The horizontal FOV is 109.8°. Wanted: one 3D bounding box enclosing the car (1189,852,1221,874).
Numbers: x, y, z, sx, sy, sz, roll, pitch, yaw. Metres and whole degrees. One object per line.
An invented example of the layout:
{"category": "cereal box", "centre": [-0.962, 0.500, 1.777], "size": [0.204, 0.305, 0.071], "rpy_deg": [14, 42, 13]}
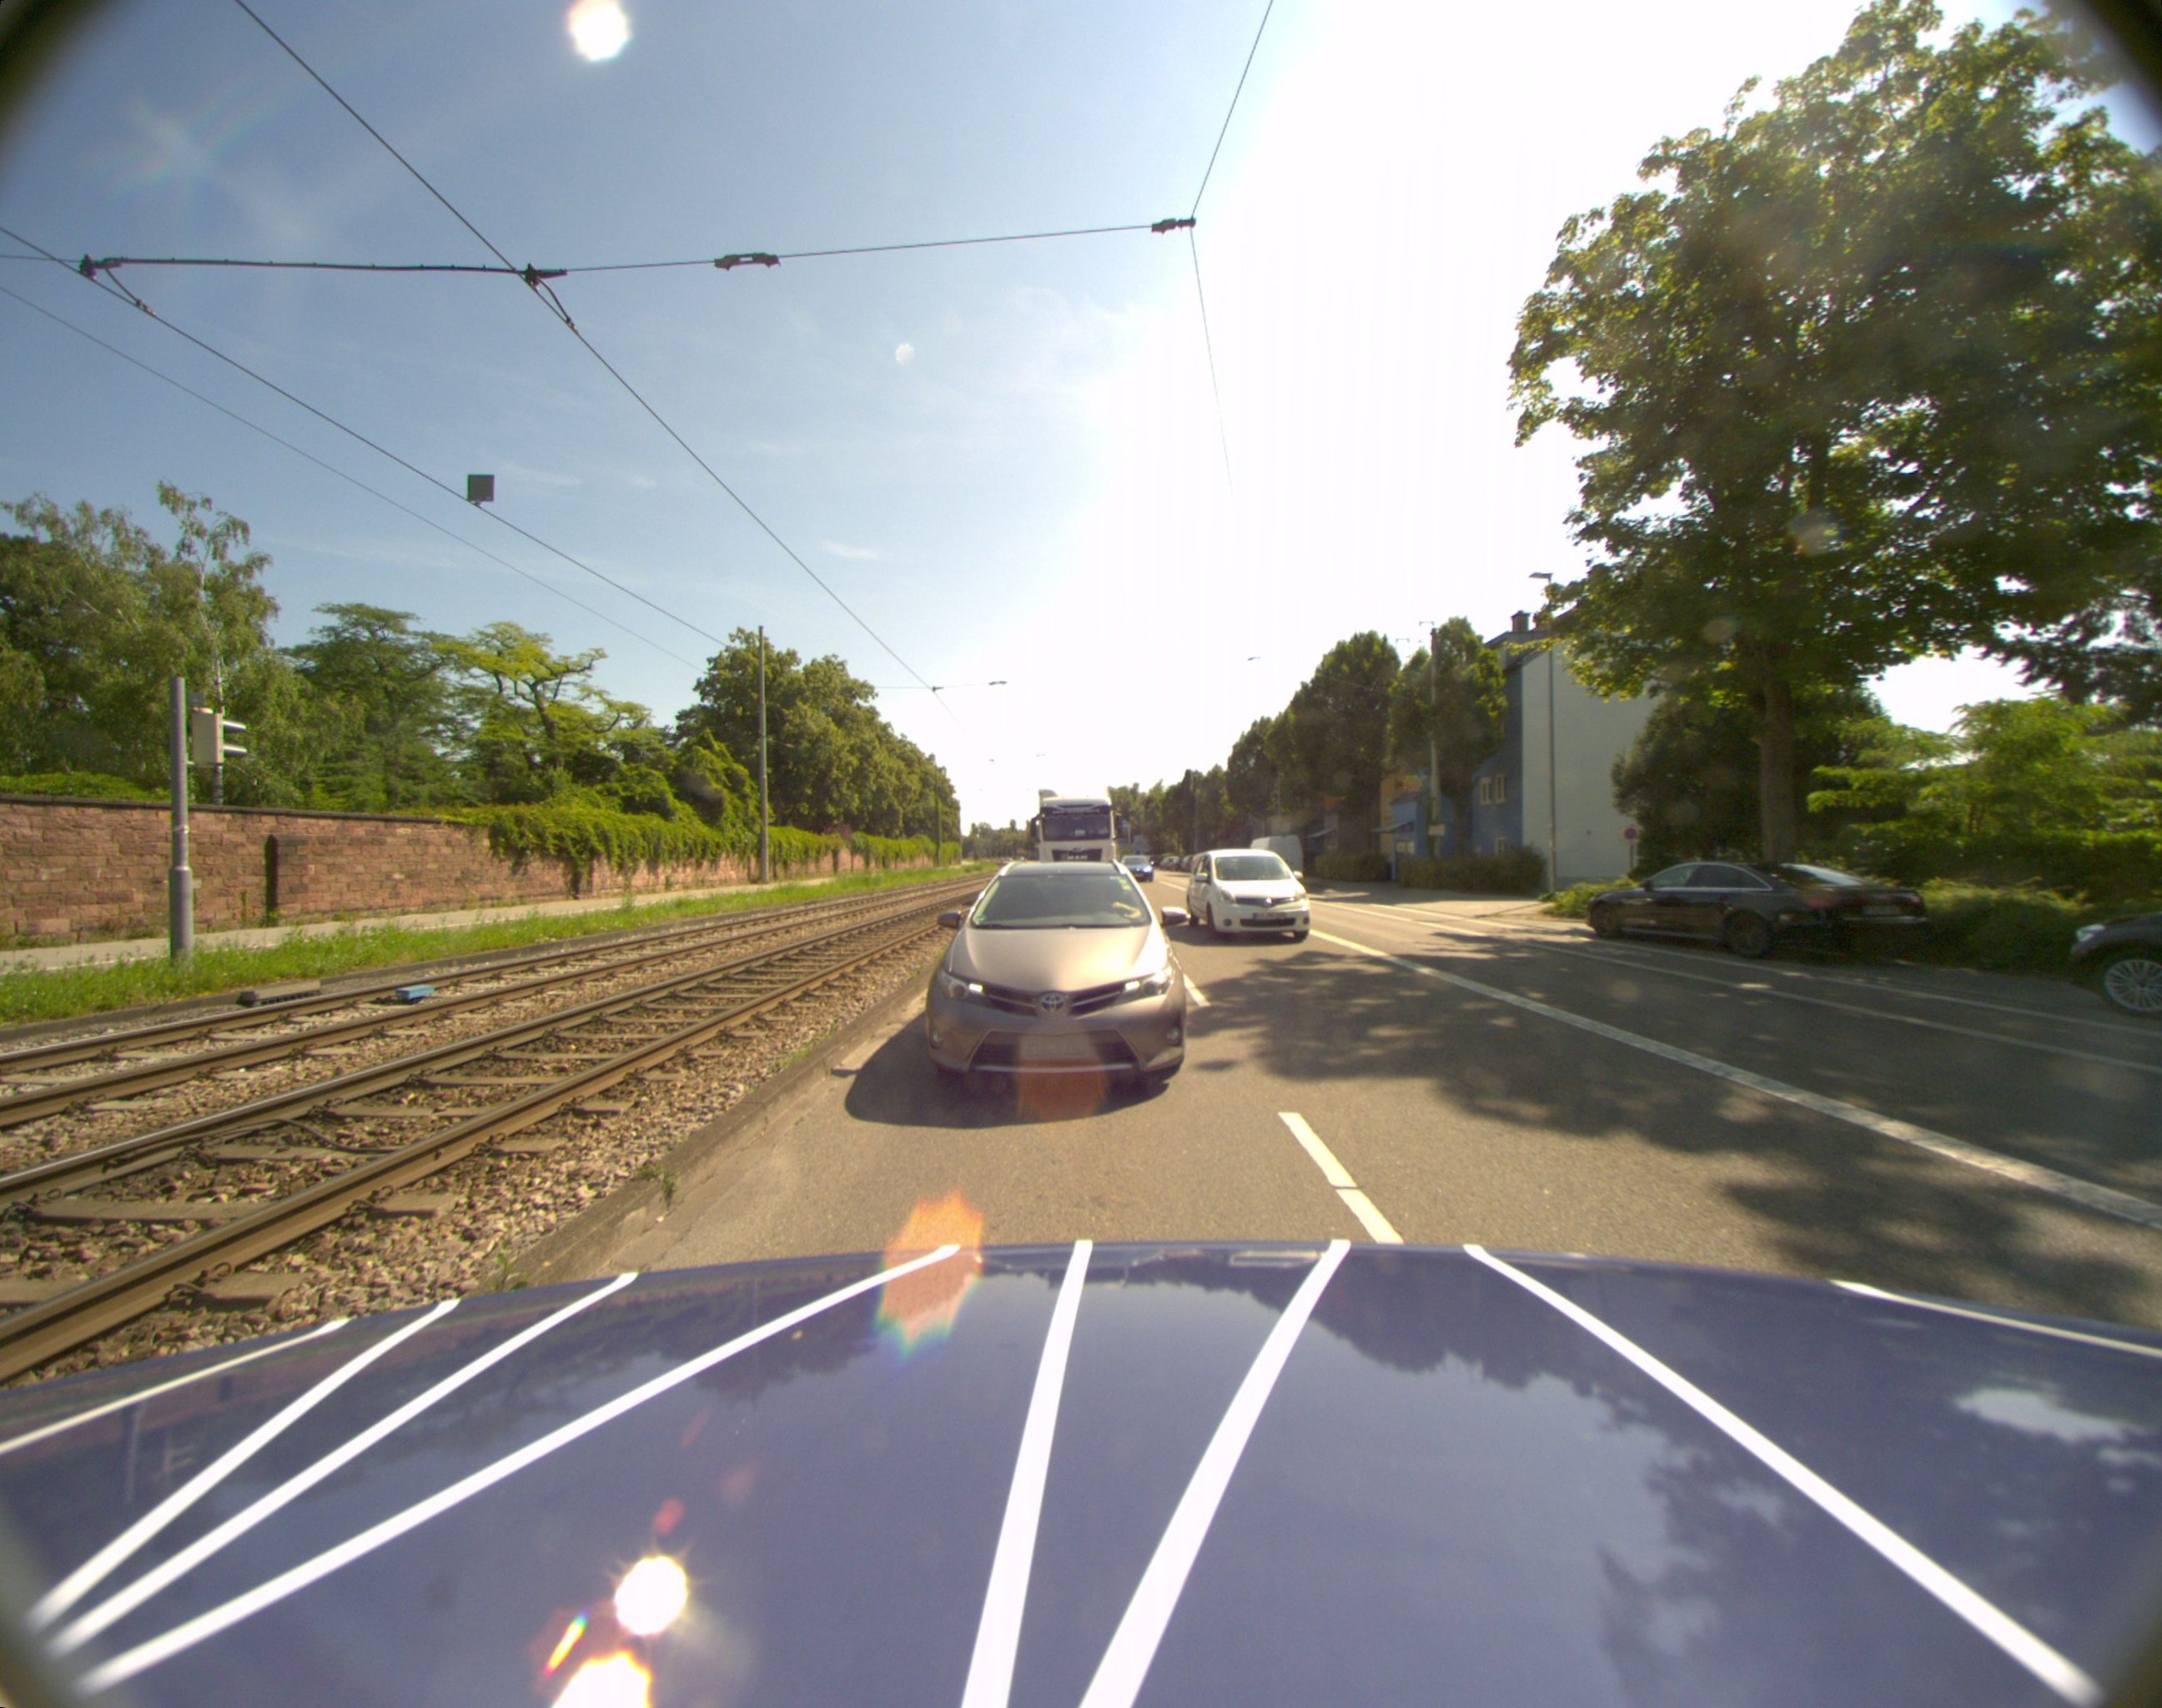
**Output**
{"category": "car", "centre": [10.974, 0.773, 67.662], "size": [1.834, 1.718, 4.348], "rpy_deg": [-3, 1, -3]}

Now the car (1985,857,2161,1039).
{"category": "car", "centre": [10.549, 0.847, 5.686], "size": [1.766, 1.596, 4.893], "rpy_deg": [-1, 0, 0]}

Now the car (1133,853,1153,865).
{"category": "car", "centre": [8.518, 0.670, 104.929], "size": [2.040, 1.490, 4.130], "rpy_deg": [-2, 1, -6]}

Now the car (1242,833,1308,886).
{"category": "car", "centre": [10.990, 0.272, 43.606], "size": [1.998, 2.661, 7.086], "rpy_deg": [-4, 0, 1]}

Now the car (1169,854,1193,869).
{"category": "car", "centre": [10.366, 0.764, 79.035], "size": [1.681, 1.462, 4.212], "rpy_deg": [-2, 1, -4]}

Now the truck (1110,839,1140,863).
{"category": "truck", "centre": [6.723, -0.420, 117.086], "size": [3.165, 3.533, 8.779], "rpy_deg": [0, 0, -6]}

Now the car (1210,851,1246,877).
{"category": "car", "centre": [11.003, 0.729, 57.253], "size": [1.853, 1.693, 4.540], "rpy_deg": [-4, 1, 1]}

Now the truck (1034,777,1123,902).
{"category": "truck", "centre": [-0.009, -0.478, 29.860], "size": [2.805, 3.926, 11.943], "rpy_deg": [0, 0, 1]}

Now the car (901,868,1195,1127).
{"category": "car", "centre": [-0.168, 0.920, 7.124], "size": [1.747, 1.421, 5.041], "rpy_deg": [-1, 0, 1]}

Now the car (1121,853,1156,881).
{"category": "car", "centre": [3.238, 0.687, 43.317], "size": [1.659, 1.517, 3.792], "rpy_deg": [0, 0, 0]}

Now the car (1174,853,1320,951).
{"category": "car", "centre": [2.975, 0.782, 14.574], "size": [1.784, 1.538, 4.394], "rpy_deg": [-2, 0, 0]}

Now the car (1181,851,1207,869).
{"category": "car", "centre": [10.782, 0.520, 72.720], "size": [1.681, 1.598, 4.164], "rpy_deg": [-2, 1, -3]}

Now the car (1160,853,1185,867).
{"category": "car", "centre": [10.304, 0.644, 85.734], "size": [1.682, 1.437, 4.835], "rpy_deg": [-2, 1, -6]}

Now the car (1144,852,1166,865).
{"category": "car", "centre": [9.425, 0.566, 97.001], "size": [1.911, 1.567, 4.929], "rpy_deg": [-2, 1, -6]}

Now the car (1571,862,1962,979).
{"category": "car", "centre": [10.606, 0.893, 12.446], "size": [1.845, 1.457, 4.908], "rpy_deg": [0, 0, -3]}

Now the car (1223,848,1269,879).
{"category": "car", "centre": [11.162, 0.629, 51.759], "size": [1.998, 1.855, 4.966], "rpy_deg": [-5, 0, 1]}
